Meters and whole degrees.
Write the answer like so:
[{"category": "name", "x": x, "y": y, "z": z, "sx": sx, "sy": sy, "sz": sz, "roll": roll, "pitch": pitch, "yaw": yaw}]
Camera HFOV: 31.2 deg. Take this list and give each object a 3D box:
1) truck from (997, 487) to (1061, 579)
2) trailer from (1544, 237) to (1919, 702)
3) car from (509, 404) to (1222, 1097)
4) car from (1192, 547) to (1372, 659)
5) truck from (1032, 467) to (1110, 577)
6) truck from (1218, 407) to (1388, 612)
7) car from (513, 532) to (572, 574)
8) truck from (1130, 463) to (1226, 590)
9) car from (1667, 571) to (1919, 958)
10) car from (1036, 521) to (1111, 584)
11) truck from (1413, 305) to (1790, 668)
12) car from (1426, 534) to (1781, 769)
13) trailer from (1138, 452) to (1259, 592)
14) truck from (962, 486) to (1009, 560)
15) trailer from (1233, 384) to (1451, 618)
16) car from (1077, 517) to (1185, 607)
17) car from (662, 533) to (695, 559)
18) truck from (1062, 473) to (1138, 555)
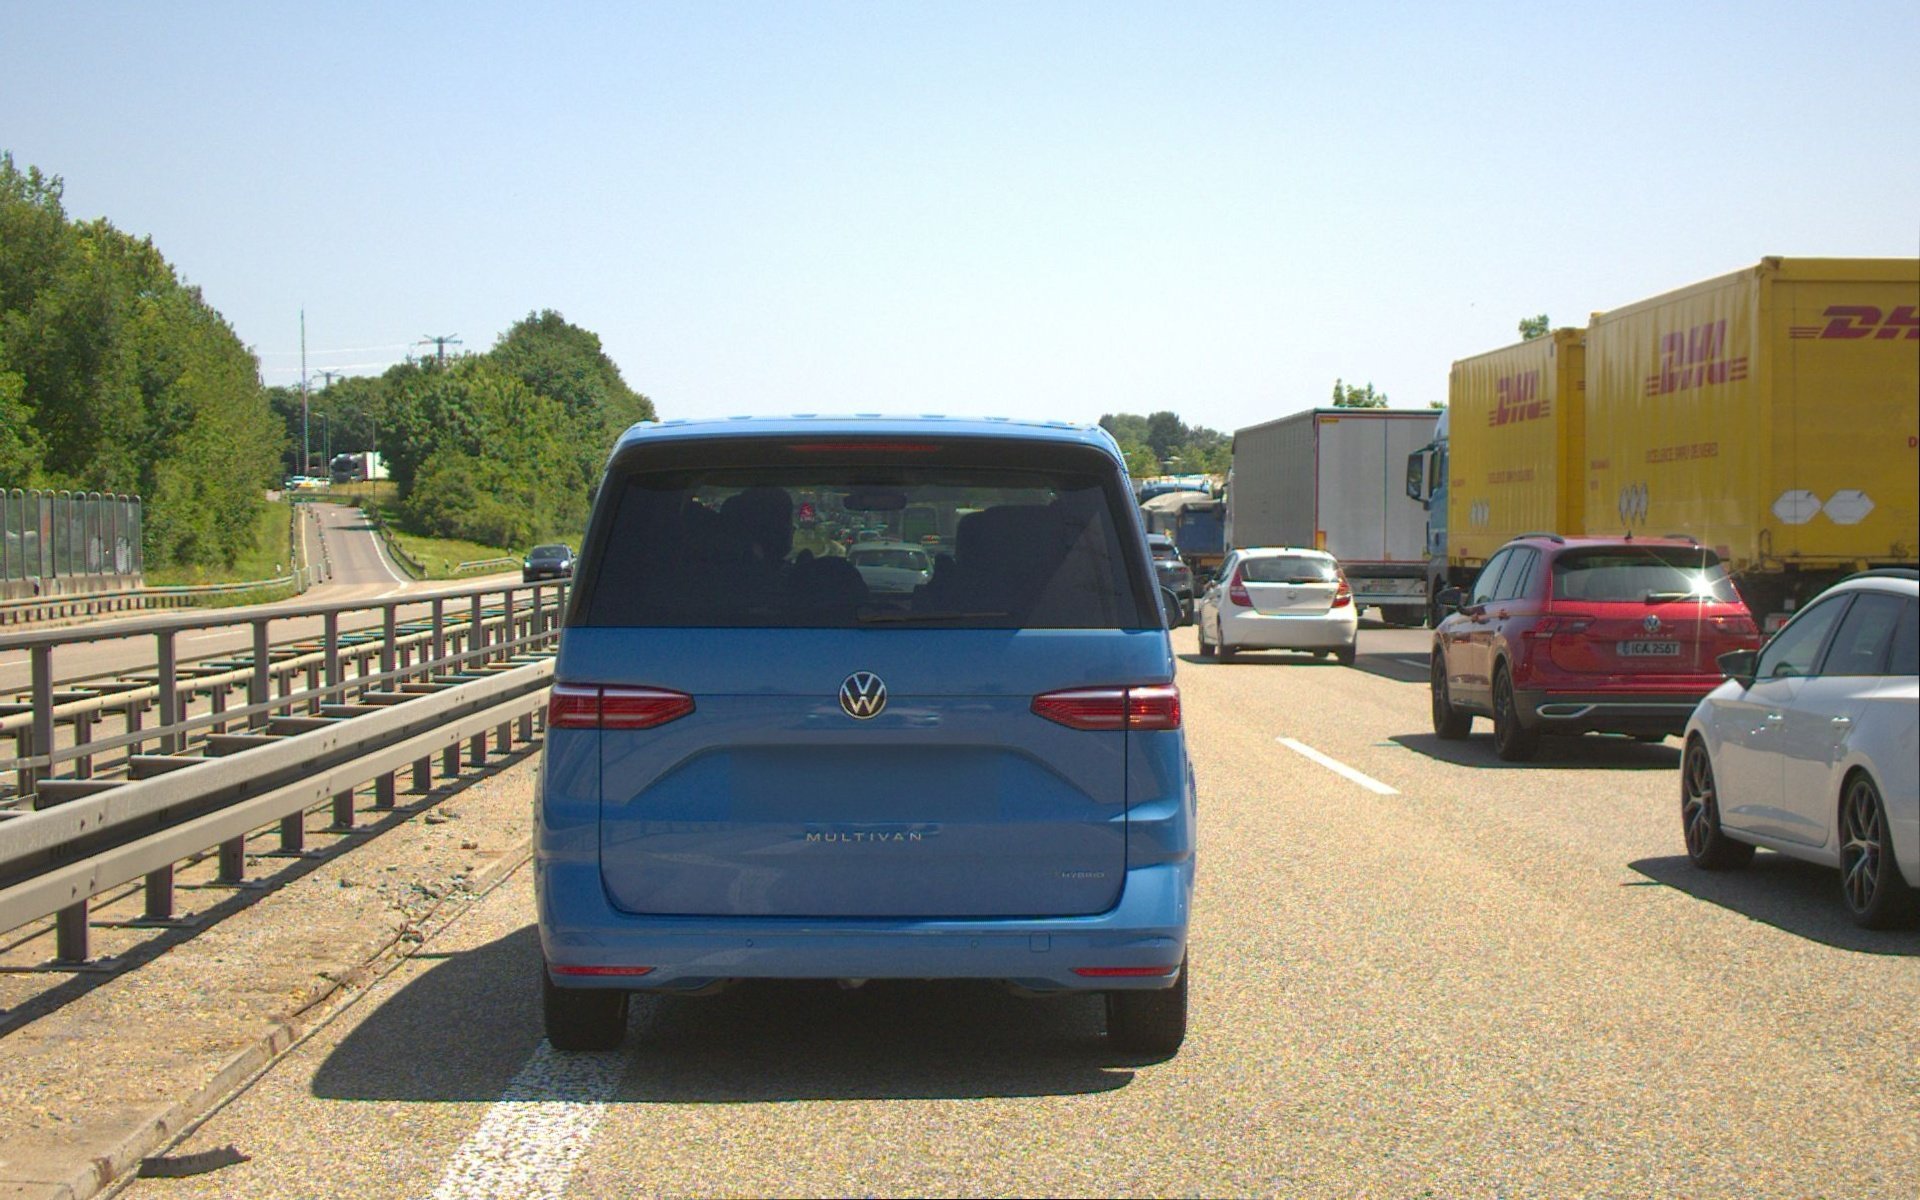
[{"category": "truck", "x": 3.837, "y": -3.721, "z": 194.683, "sx": 2.833, "sy": 5.023, "sz": 11.818, "roll": 1, "pitch": 0, "yaw": -2}, {"category": "trailer", "x": 8.021, "y": -1.149, "z": 34.331, "sx": 2.701, "sy": 4.010, "sz": 8.931, "roll": 1, "pitch": 0, "yaw": -1}, {"category": "car", "x": -0.274, "y": 0.370, "z": 11.119, "sx": 1.882, "sy": 1.831, "sz": 4.000, "roll": 0, "pitch": 1, "yaw": -1}, {"category": "car", "x": 4.173, "y": 0.009, "z": 45.076, "sx": 1.838, "sy": 1.409, "sz": 4.000, "roll": 0, "pitch": 1, "yaw": -2}, {"category": "truck", "x": 5.259, "y": -3.661, "z": 164.835, "sx": 2.833, "sy": 5.023, "sz": 11.147, "roll": 1, "pitch": 0, "yaw": -2}, {"category": "truck", "x": 7.188, "y": -1.853, "z": 72.927, "sx": 2.768, "sy": 4.081, "sz": 6.984, "roll": 1, "pitch": 0, "yaw": -1}, {"category": "car", "x": -16.385, "y": -1.841, "z": 135.076, "sx": 1.780, "sy": 1.563, "sz": 4.387, "roll": -2, "pitch": 1, "yaw": -1}, {"category": "truck", "x": 6.582, "y": -2.184, "z": 104.499, "sx": 2.367, "sy": 3.709, "sz": 6.034, "roll": 1, "pitch": 0, "yaw": -1}, {"category": "car", "x": 4.362, "y": 0.589, "z": 14.640, "sx": 1.781, "sy": 1.382, "sz": 4.188, "roll": 0, "pitch": 1, "yaw": -1}, {"category": "car", "x": 2.915, "y": -1.234, "z": 88.855, "sx": 1.715, "sy": 1.535, "sz": 3.821, "roll": -1, "pitch": 1, "yaw": -1}, {"category": "truck", "x": 7.925, "y": -1.314, "z": 43.989, "sx": 2.722, "sy": 4.041, "sz": 10.336, "roll": 1, "pitch": 0, "yaw": -1}, {"category": "car", "x": 4.710, "y": 0.319, "z": 25.725, "sx": 1.851, "sy": 1.603, "sz": 4.000, "roll": 0, "pitch": 1, "yaw": -1}, {"category": "trailer", "x": 6.703, "y": -2.144, "z": 98.168, "sx": 2.379, "sy": 3.731, "sz": 11.189, "roll": 1, "pitch": 0, "yaw": -1}, {"category": "truck", "x": 1.889, "y": -5.719, "z": 259.034, "sx": 2.833, "sy": 5.354, "sz": 12.556, "roll": 1, "pitch": 0, "yaw": -2}, {"category": "trailer", "x": 7.281, "y": -1.810, "z": 67.122, "sx": 2.755, "sy": 4.132, "sz": 11.312, "roll": 1, "pitch": 0, "yaw": -1}, {"category": "car", "x": 3.161, "y": -0.719, "z": 64.144, "sx": 1.715, "sy": 1.581, "sz": 3.821, "roll": -1, "pitch": 1, "yaw": -1}, {"category": "car", "x": -17.879, "y": -3.429, "z": 218.687, "sx": 1.754, "sy": 1.542, "sz": 4.000, "roll": -2, "pitch": 0, "yaw": -1}, {"category": "truck", "x": 5.870, "y": -3.580, "z": 145.428, "sx": 2.355, "sy": 3.207, "sz": 9.742, "roll": 1, "pitch": 0, "yaw": -2}]
